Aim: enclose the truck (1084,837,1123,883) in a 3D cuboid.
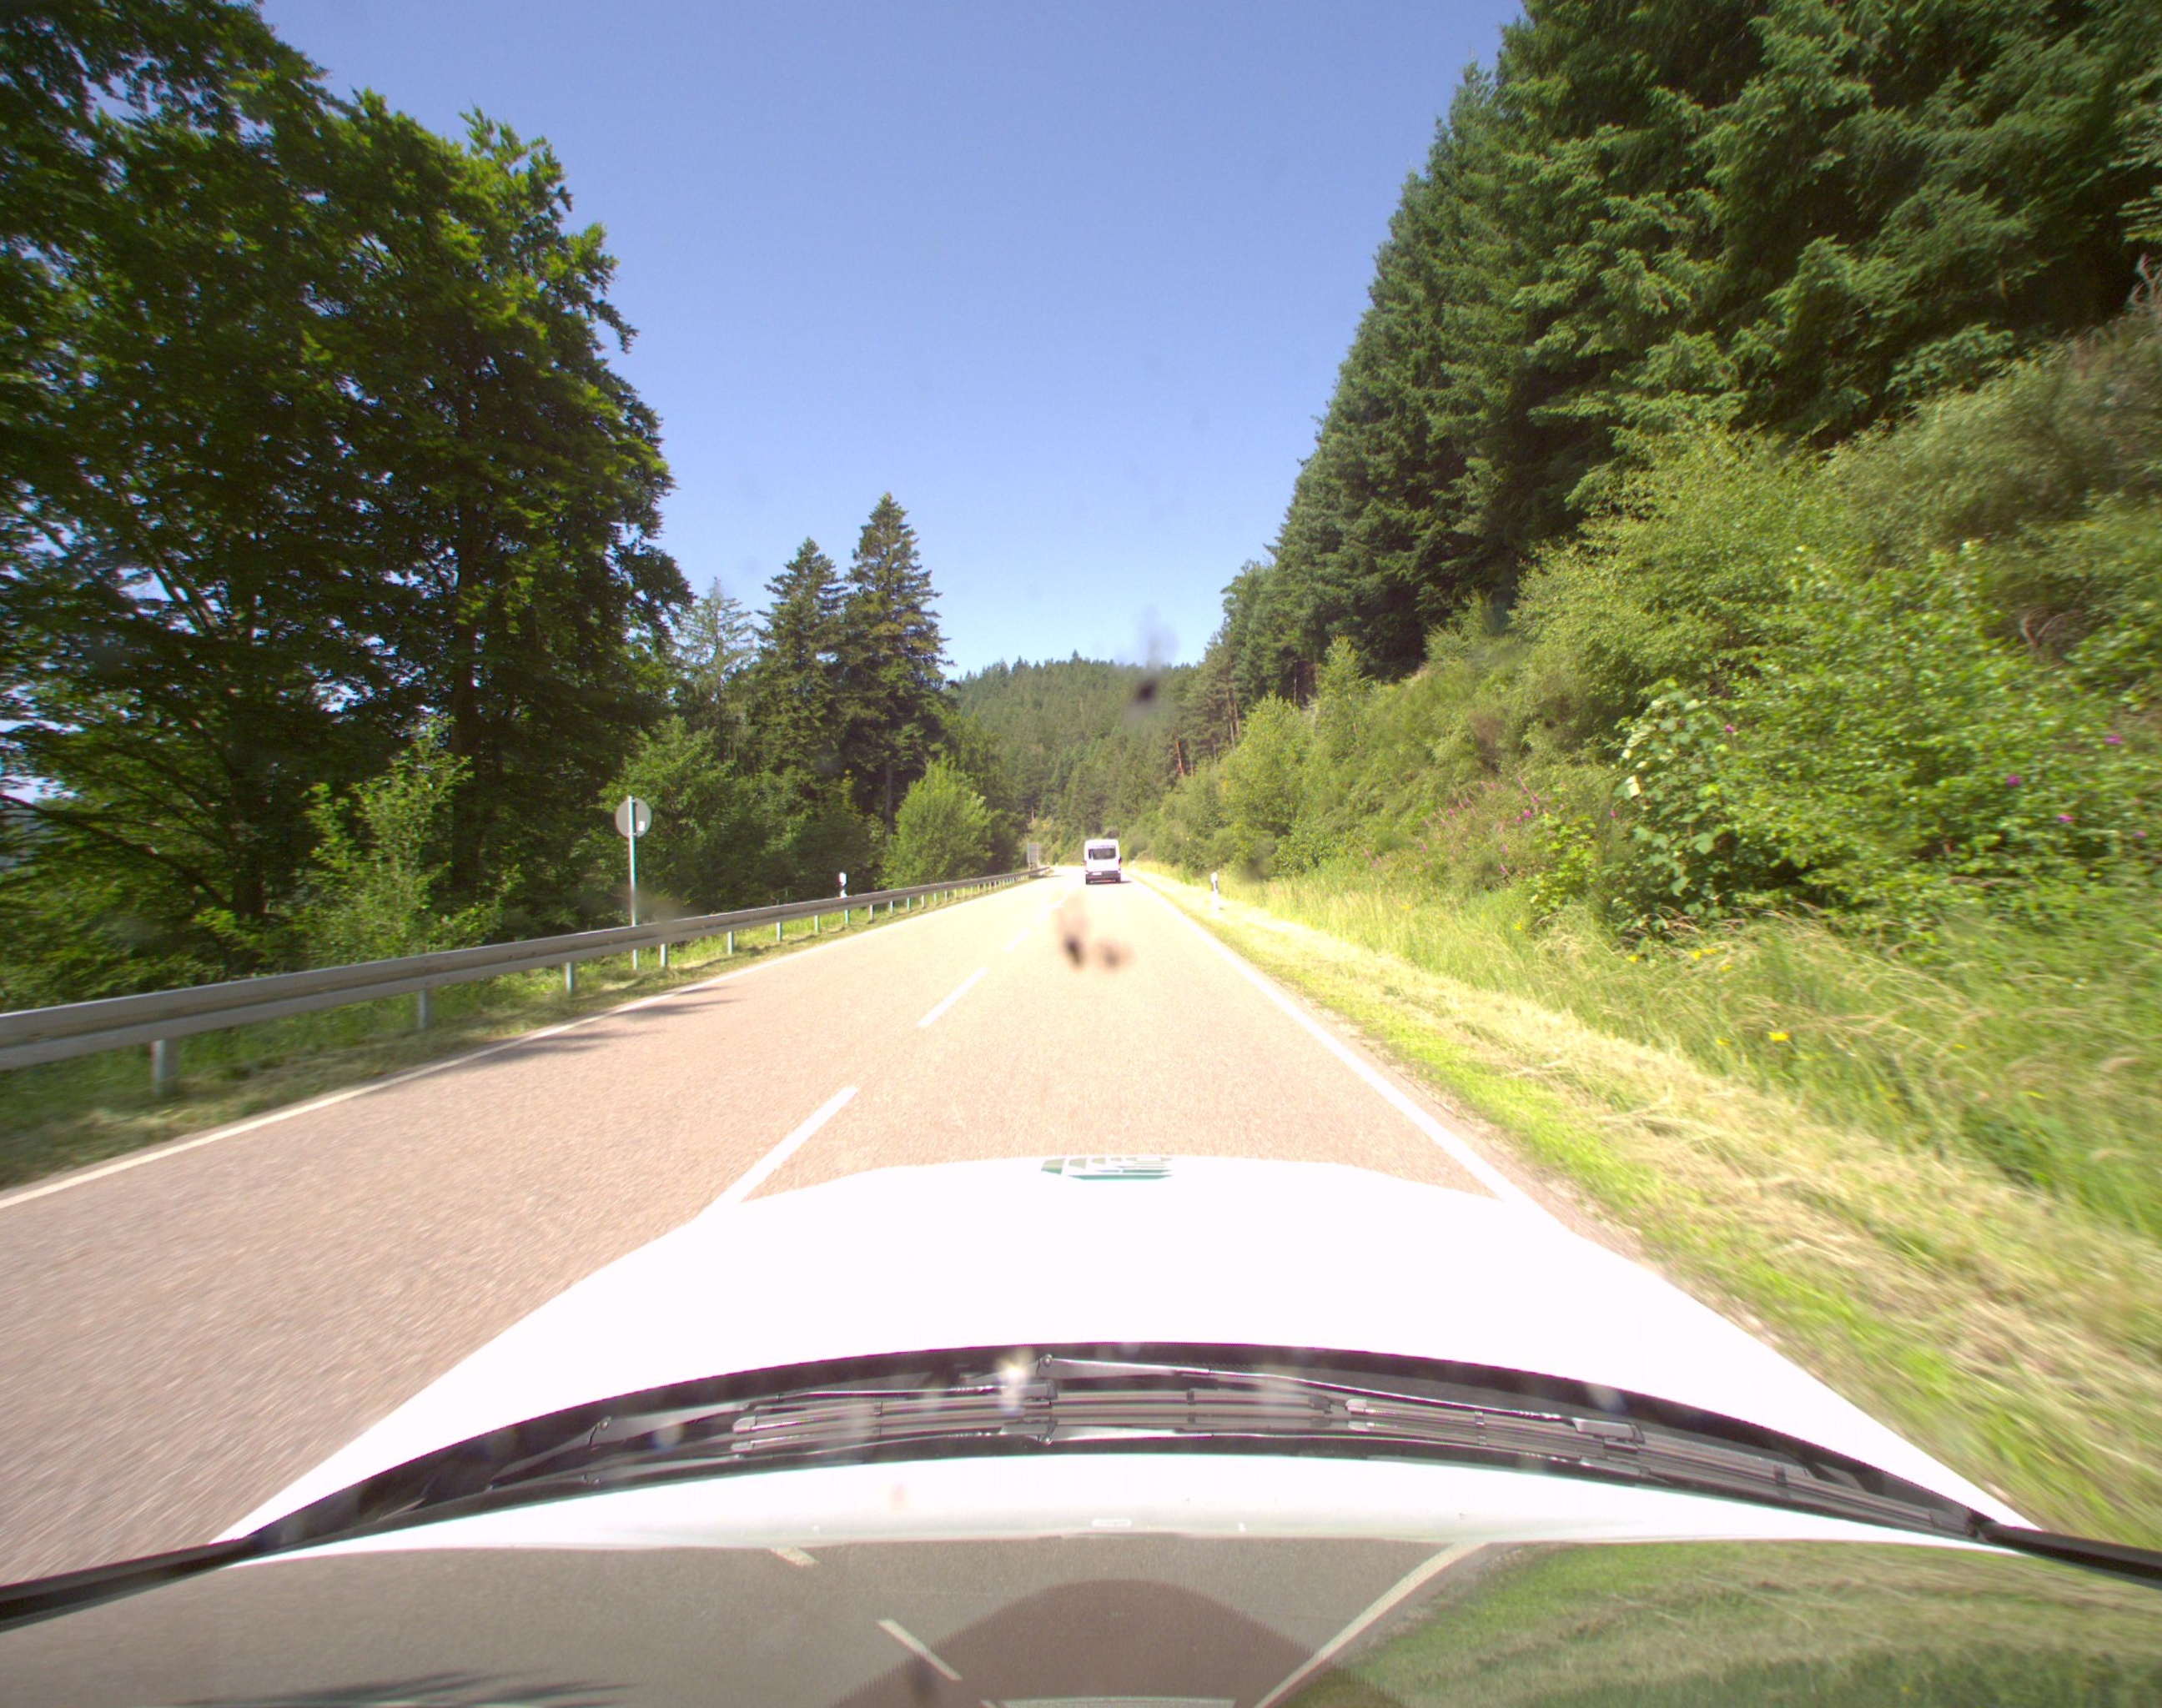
[{"bbox_3d":[1.371,0.367,47.188,2.075,2.460,4.878,-2,-1,3],"label":"truck"}]
